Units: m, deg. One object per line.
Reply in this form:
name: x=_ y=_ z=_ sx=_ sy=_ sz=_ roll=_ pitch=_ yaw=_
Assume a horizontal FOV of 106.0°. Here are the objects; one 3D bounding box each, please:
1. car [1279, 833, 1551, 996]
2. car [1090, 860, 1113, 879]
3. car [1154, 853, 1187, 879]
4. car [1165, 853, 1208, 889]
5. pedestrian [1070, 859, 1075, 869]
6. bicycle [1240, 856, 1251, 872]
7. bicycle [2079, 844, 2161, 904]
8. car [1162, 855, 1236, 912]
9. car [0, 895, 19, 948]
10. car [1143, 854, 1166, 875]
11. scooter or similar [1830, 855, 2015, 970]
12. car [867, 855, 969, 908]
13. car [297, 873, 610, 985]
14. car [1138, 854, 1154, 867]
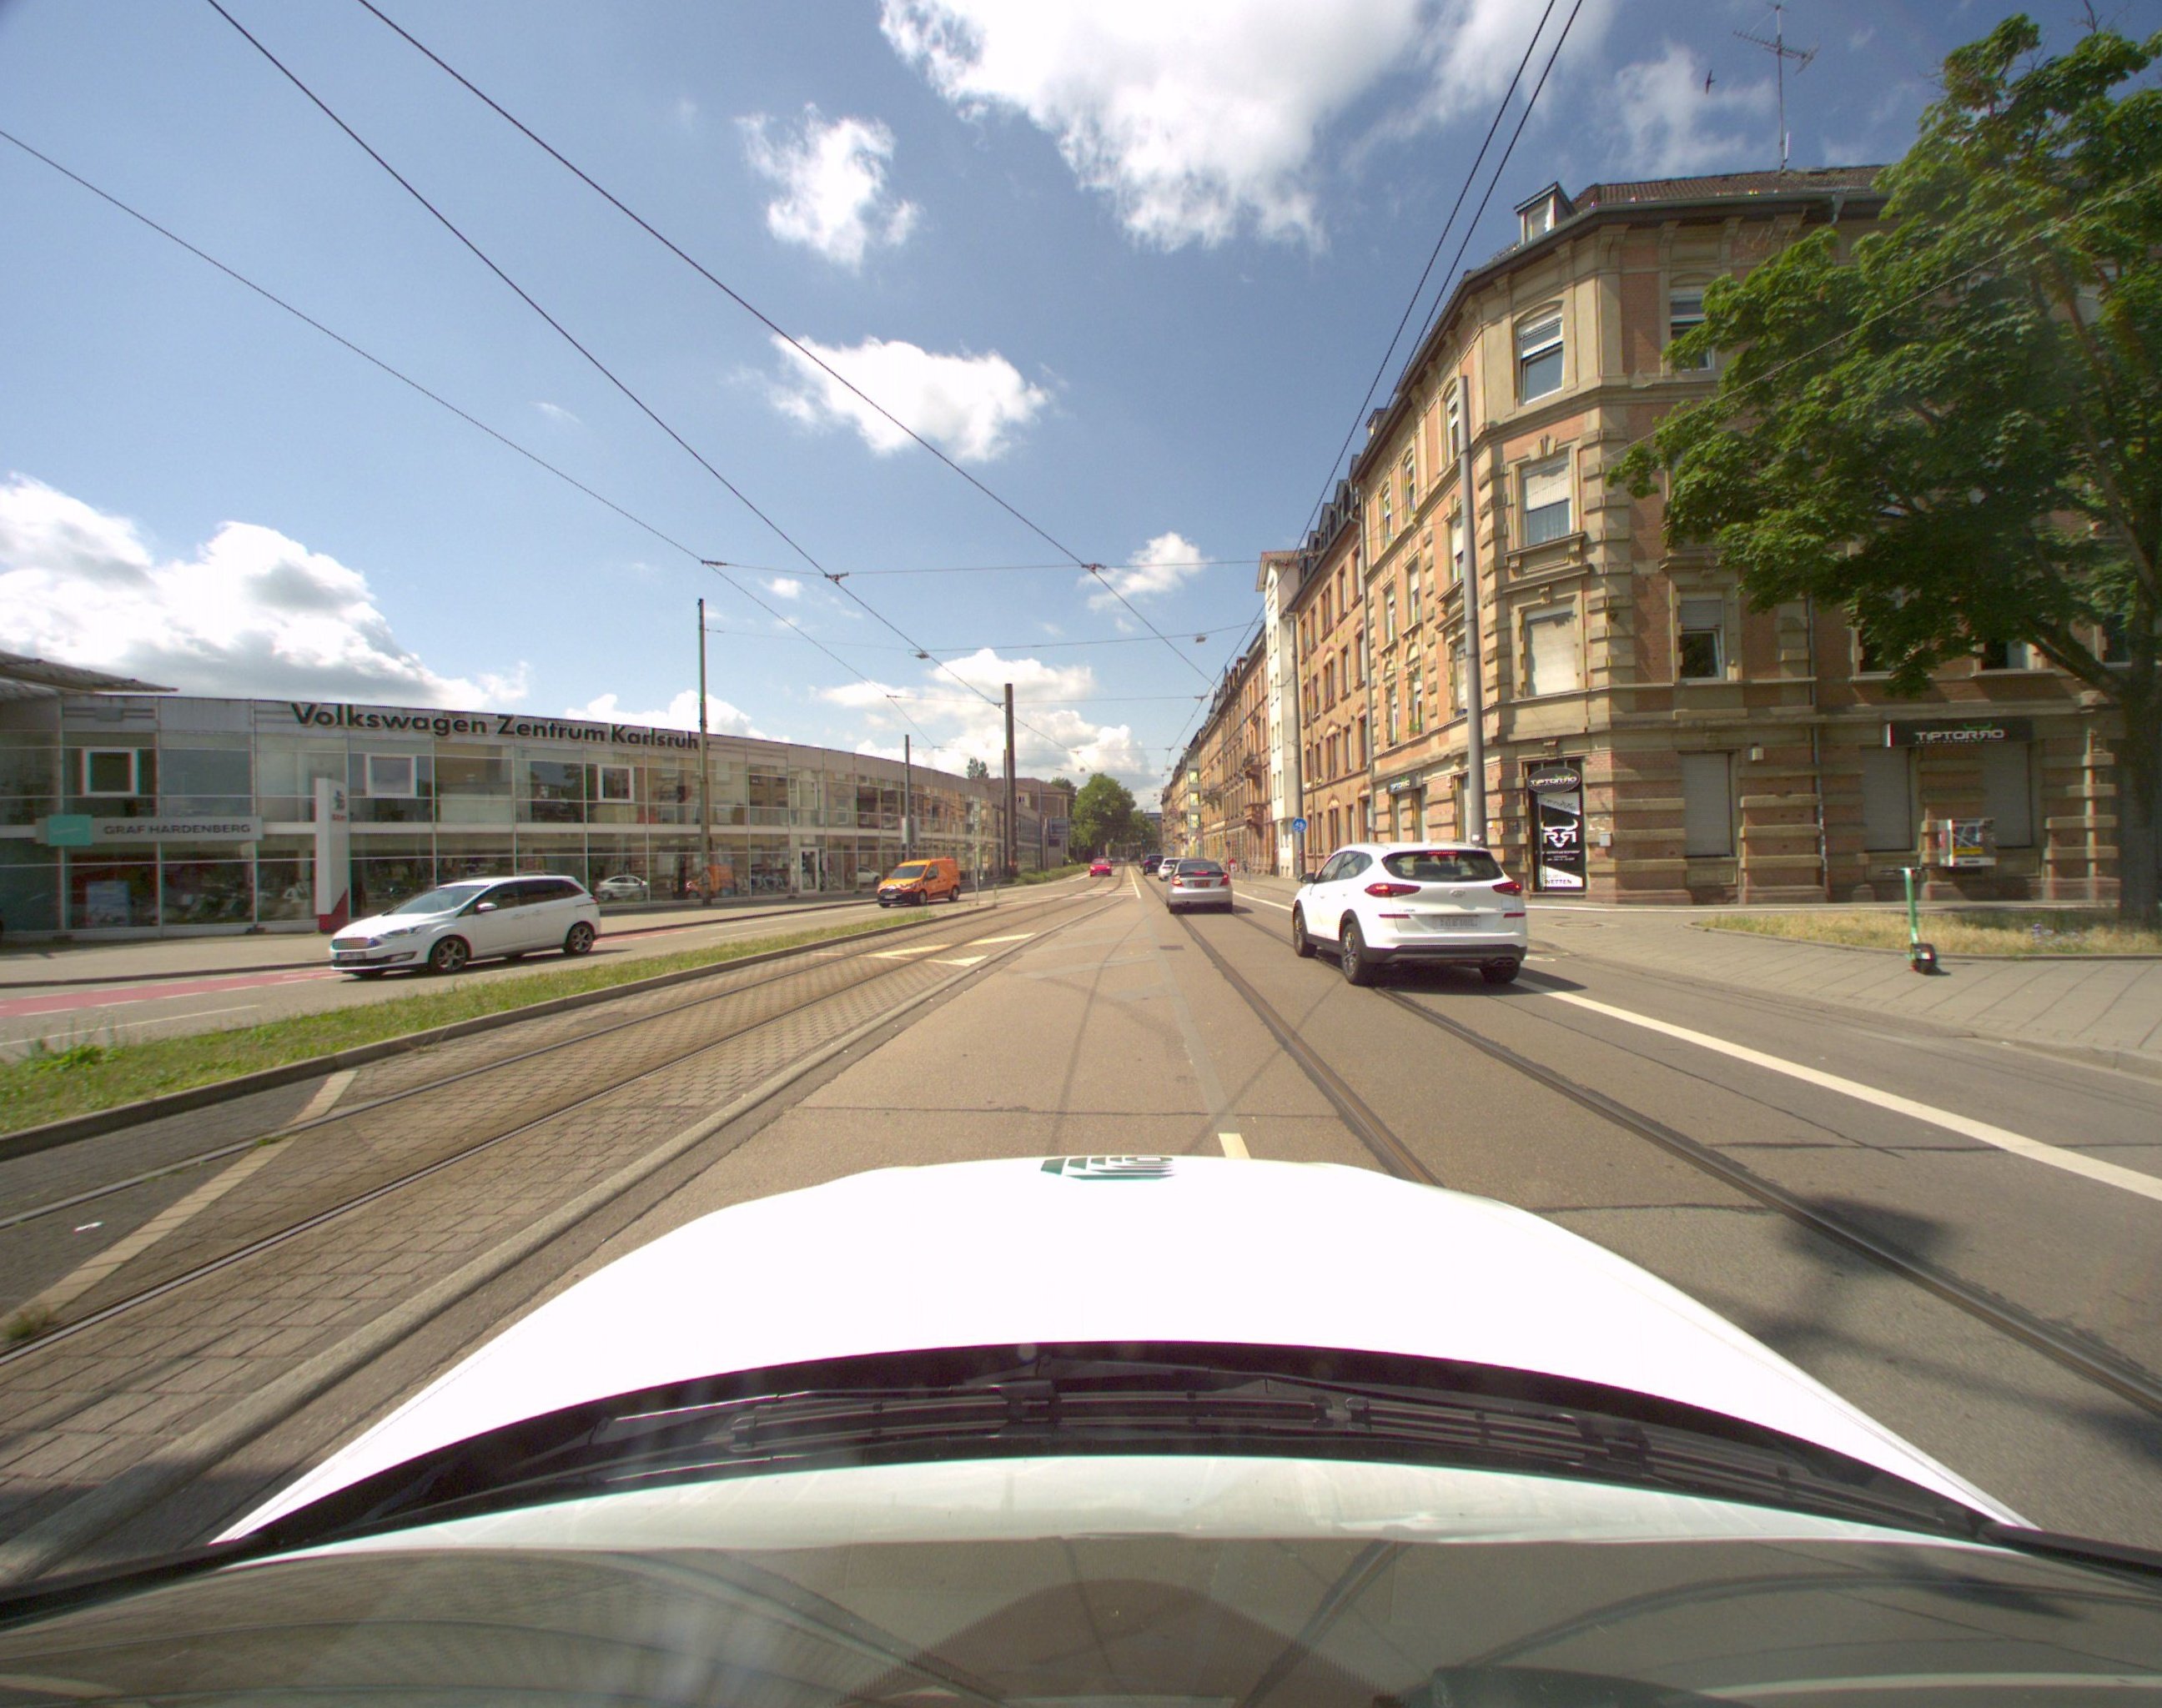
car: x=3.994 y=0.637 z=10.592 sx=1.846 sy=1.634 sz=4.181 roll=-2 pitch=0 yaw=1
car: x=1.705 y=1.280 z=67.469 sx=1.694 sy=1.428 sz=3.906 roll=-2 pitch=-1 yaw=4
car: x=5.671 y=0.733 z=52.021 sx=1.807 sy=1.524 sz=3.959 roll=-2 pitch=0 yaw=3
car: x=4.832 y=0.726 z=37.755 sx=1.806 sy=1.524 sz=4.091 roll=-2 pitch=0 yaw=5
pedestrian: x=-1.589 y=1.933 z=154.638 sx=0.876 sy=1.865 sz=1.082 roll=-3 pitch=-1 yaw=3
bicycle: x=12.710 y=0.772 z=62.977 sx=0.584 sy=1.178 sz=2.207 roll=-2 pitch=0 yaw=4
bicycle: x=19.706 y=0.358 z=14.945 sx=1.636 sy=1.050 sz=0.767 roll=-2 pitch=0 yaw=11
car: x=3.236 y=0.786 z=23.004 sx=1.806 sy=1.420 sz=4.193 roll=-2 pitch=-1 yaw=5
car: x=-30.226 y=1.883 z=21.235 sx=1.842 sy=1.447 sz=3.906 roll=-1 pitch=-1 yaw=-33
car: x=6.153 y=0.873 z=68.557 sx=1.807 sy=1.662 sz=4.088 roll=-2 pitch=-1 yaw=3
scooter or similar: x=9.387 y=0.627 z=9.153 sx=0.942 sy=1.179 sz=1.089 roll=-3 pitch=-1 yaw=9
car: x=-6.406 y=1.040 z=32.501 sx=1.895 sy=1.866 sz=4.389 roll=-3 pitch=0 yaw=20
car: x=-11.260 y=1.252 z=15.122 sx=1.755 sy=1.604 sz=4.506 roll=-3 pitch=0 yaw=11
car: x=9.259 y=0.923 z=116.494 sx=1.986 sy=1.860 sz=4.001 roll=-2 pitch=0 yaw=2
